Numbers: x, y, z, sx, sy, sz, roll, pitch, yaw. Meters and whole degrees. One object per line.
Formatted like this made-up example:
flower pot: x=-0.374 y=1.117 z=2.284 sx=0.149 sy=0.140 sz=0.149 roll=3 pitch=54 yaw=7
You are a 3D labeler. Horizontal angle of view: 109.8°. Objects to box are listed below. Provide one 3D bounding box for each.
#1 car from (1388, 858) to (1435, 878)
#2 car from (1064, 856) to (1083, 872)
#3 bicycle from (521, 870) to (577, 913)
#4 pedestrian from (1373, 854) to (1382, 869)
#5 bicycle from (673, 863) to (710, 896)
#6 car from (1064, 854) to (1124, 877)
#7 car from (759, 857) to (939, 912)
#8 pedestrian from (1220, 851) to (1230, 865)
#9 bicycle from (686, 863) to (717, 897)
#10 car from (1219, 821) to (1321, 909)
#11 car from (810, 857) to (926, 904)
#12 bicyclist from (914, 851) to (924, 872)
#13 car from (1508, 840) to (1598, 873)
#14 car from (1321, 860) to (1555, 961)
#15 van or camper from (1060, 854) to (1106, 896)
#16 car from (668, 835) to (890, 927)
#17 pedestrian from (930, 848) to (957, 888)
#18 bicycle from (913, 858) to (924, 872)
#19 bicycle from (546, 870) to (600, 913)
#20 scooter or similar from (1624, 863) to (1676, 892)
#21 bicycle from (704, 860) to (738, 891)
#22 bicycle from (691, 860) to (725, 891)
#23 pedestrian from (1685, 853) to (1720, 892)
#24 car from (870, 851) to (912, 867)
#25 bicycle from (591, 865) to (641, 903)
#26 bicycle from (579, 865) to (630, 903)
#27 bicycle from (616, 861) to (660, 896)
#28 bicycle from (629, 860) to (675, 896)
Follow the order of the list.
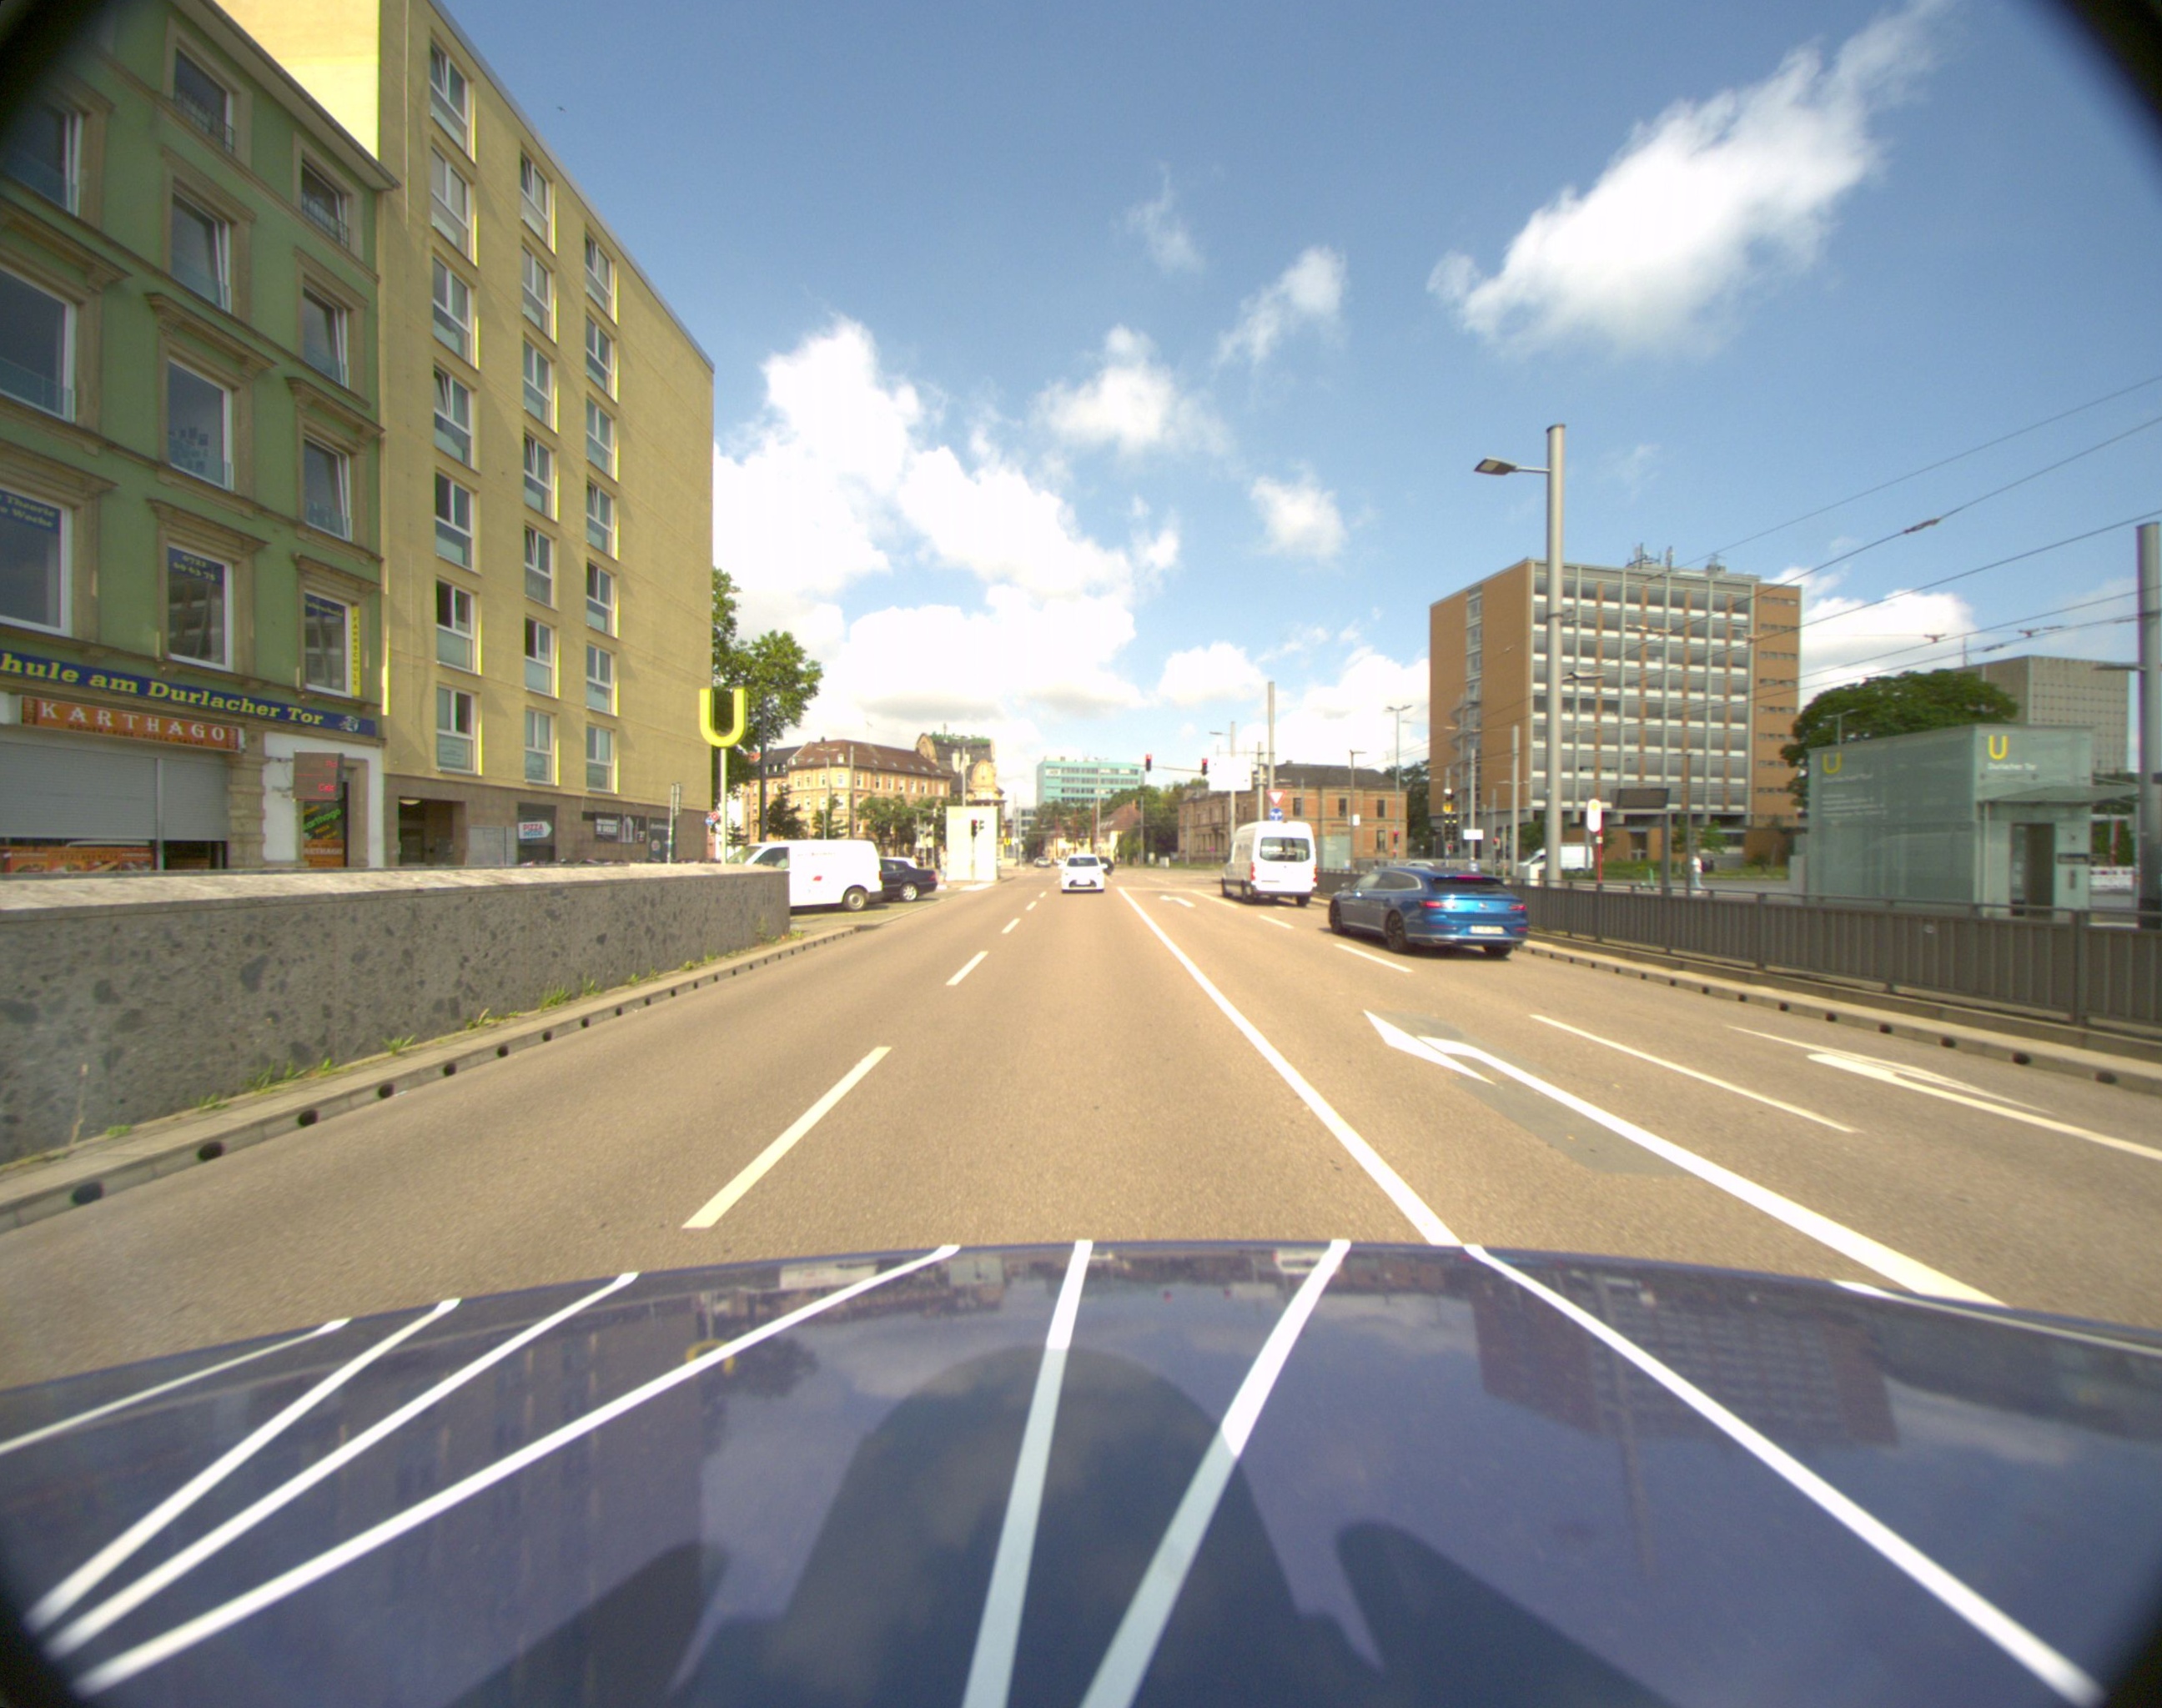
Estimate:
car: x=32.567 y=1.372 z=74.963 sx=4.132 sy=1.763 sz=2.001 roll=-1 pitch=4 yaw=19
car: x=-1.053 y=1.399 z=106.544 sx=2.000 sy=1.730 sz=4.335 roll=-3 pitch=4 yaw=-9
bicycle: x=-15.730 y=1.095 z=22.516 sx=0.487 sy=1.194 sz=1.645 roll=-1 pitch=0 yaw=0
pedestrian: x=32.521 y=0.792 z=83.414 sx=0.763 sy=1.579 sz=0.774 roll=1 pitch=1 yaw=37
bicycle: x=-15.614 y=1.007 z=30.488 sx=0.487 sy=1.265 sz=1.646 roll=0 pitch=0 yaw=5
car: x=1.045 y=0.857 z=59.125 sx=4.551 sy=1.274 sz=1.994 roll=-6 pitch=5 yaw=-43
car: x=-7.203 y=0.870 z=23.983 sx=5.074 sy=1.460 sz=1.885 roll=-1 pitch=1 yaw=-41
pedestrian: x=17.545 y=0.514 z=92.480 sx=0.785 sy=1.727 sz=0.858 roll=0 pitch=1 yaw=-20
bicycle: x=-15.065 y=1.002 z=30.164 sx=0.488 sy=1.265 sz=1.888 roll=-1 pitch=0 yaw=-7
car: x=6.120 y=0.319 z=25.374 sx=1.998 sy=2.606 sz=5.580 roll=1 pitch=0 yaw=0
car: x=-7.553 y=0.894 z=27.114 sx=3.518 sy=1.432 sz=1.715 roll=-3 pitch=1 yaw=-40
bicyclist: x=-13.713 y=0.618 z=64.181 sx=0.712 sy=1.735 sz=0.827 roll=1 pitch=2 yaw=-6
car: x=41.080 y=0.190 z=66.315 sx=6.136 sy=2.862 sz=2.489 roll=0 pitch=1 yaw=16
car: x=5.885 y=0.837 z=13.265 sx=1.855 sy=1.447 sz=4.554 roll=1 pitch=0 yaw=-1
van or camper: x=0.061 y=0.770 z=28.971 sx=1.627 sy=1.467 sz=4.000 roll=-1 pitch=0 yaw=0
car: x=-7.783 y=0.621 z=19.949 sx=4.909 sy=2.072 sz=2.074 roll=-2 pitch=0 yaw=-45
pedestrian: x=-6.320 y=0.627 z=34.940 sx=0.996 sy=1.750 sz=0.784 roll=-4 pitch=4 yaw=-23
bicycle: x=-13.705 y=0.923 z=64.173 sx=0.789 sy=1.121 sz=1.990 roll=0 pitch=1 yaw=-7
bicycle: x=-15.121 y=1.107 z=22.649 sx=0.487 sy=1.194 sz=1.645 roll=-1 pitch=0 yaw=0
scooter or similar: x=26.573 y=1.094 z=35.537 sx=1.337 sy=1.183 sz=1.494 roll=-3 pitch=4 yaw=3
bicycle: x=-15.135 y=0.875 z=31.965 sx=0.531 sy=1.265 sz=1.646 roll=0 pitch=0 yaw=5
bicycle: x=-15.674 y=0.900 z=31.980 sx=0.487 sy=1.265 sz=1.646 roll=0 pitch=0 yaw=5
pedestrian: x=27.119 y=0.798 z=33.162 sx=1.094 sy=1.679 sz=0.931 roll=-2 pitch=0 yaw=42
car: x=-19.440 y=0.506 z=77.634 sx=3.989 sy=1.505 sz=1.829 roll=0 pitch=5 yaw=33
bicycle: x=-15.155 y=0.963 z=24.827 sx=0.487 sy=1.194 sz=1.646 roll=0 pitch=0 yaw=5
bicycle: x=-15.681 y=0.975 z=25.046 sx=0.487 sy=1.194 sz=1.646 roll=0 pitch=0 yaw=5
bicycle: x=-15.617 y=0.852 z=26.824 sx=0.487 sy=1.194 sz=1.646 roll=0 pitch=0 yaw=5
bicycle: x=-15.062 y=0.830 z=26.736 sx=0.548 sy=1.194 sz=1.646 roll=0 pitch=0 yaw=5
